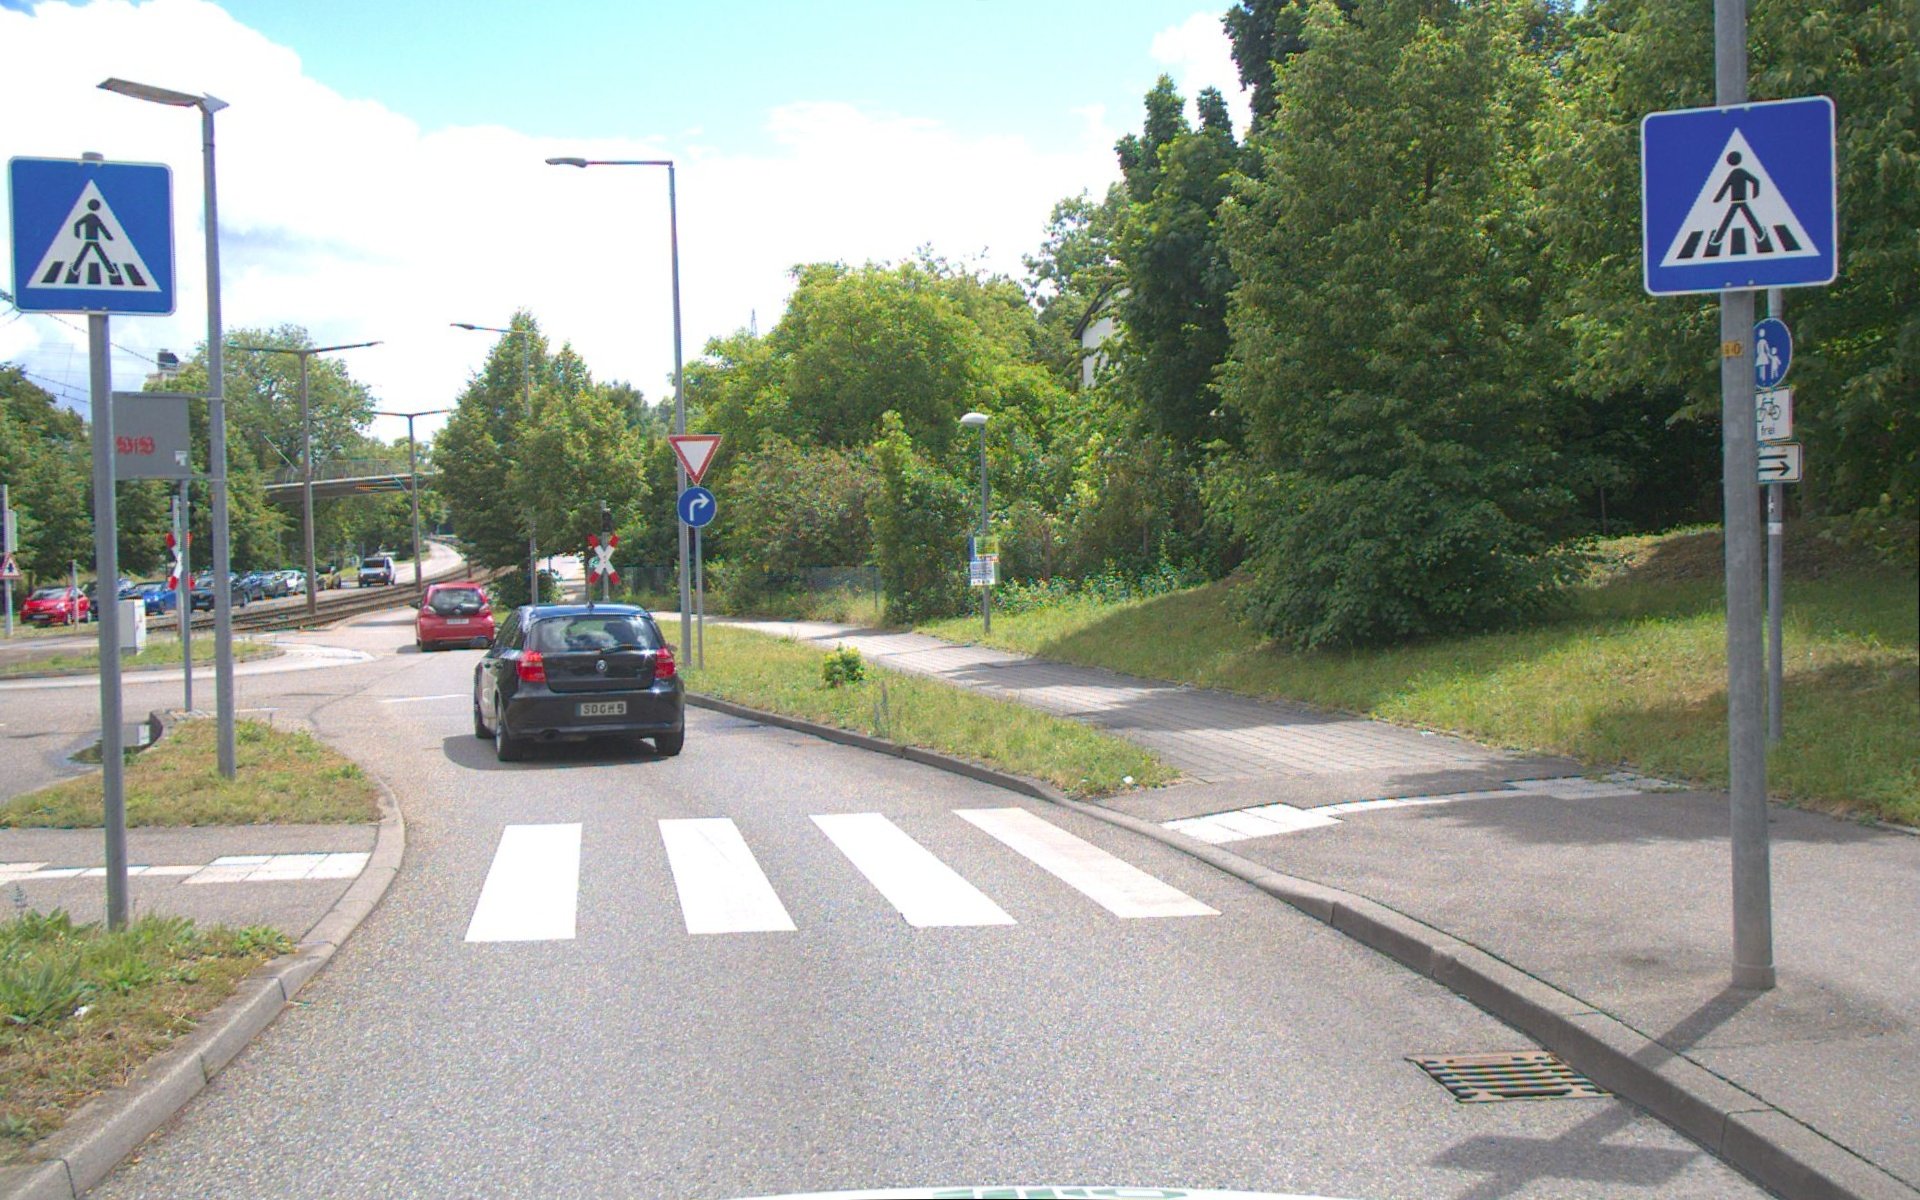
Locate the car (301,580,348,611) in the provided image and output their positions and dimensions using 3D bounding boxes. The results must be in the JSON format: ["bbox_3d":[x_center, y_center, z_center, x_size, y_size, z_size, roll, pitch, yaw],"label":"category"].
[{"bbox_3d":[-42.106,-0.328,109.616,1.956,1.895,3.994,-2,2,-7],"label":"car"}]

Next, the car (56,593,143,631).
[{"bbox_3d":[-35.118,0.465,67.594,1.843,1.450,3.528,-2,1,-5],"label":"car"}]

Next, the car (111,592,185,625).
[{"bbox_3d":[-35.762,0.373,72.911,1.772,1.276,3.563,-2,2,-7],"label":"car"}]

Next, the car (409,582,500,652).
[{"bbox_3d":[-11.573,0.389,37.764,1.740,1.457,3.457,-3,0,-20],"label":"car"}]

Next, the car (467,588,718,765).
[{"bbox_3d":[-3.765,0.701,16.431,1.790,1.445,3.973,-3,0,-22],"label":"car"}]

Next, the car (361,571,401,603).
[{"bbox_3d":[-39.218,-0.909,112.110,1.958,2.048,3.989,-2,1,-11],"label":"car"}]

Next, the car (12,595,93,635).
[{"bbox_3d":[-34.009,0.548,62.066,1.500,1.394,3.589,-2,1,-10],"label":"car"}]

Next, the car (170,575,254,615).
[{"bbox_3d":[-32.654,-0.220,72.319,1.955,1.625,4.415,-2,1,-5],"label":"car"}]
